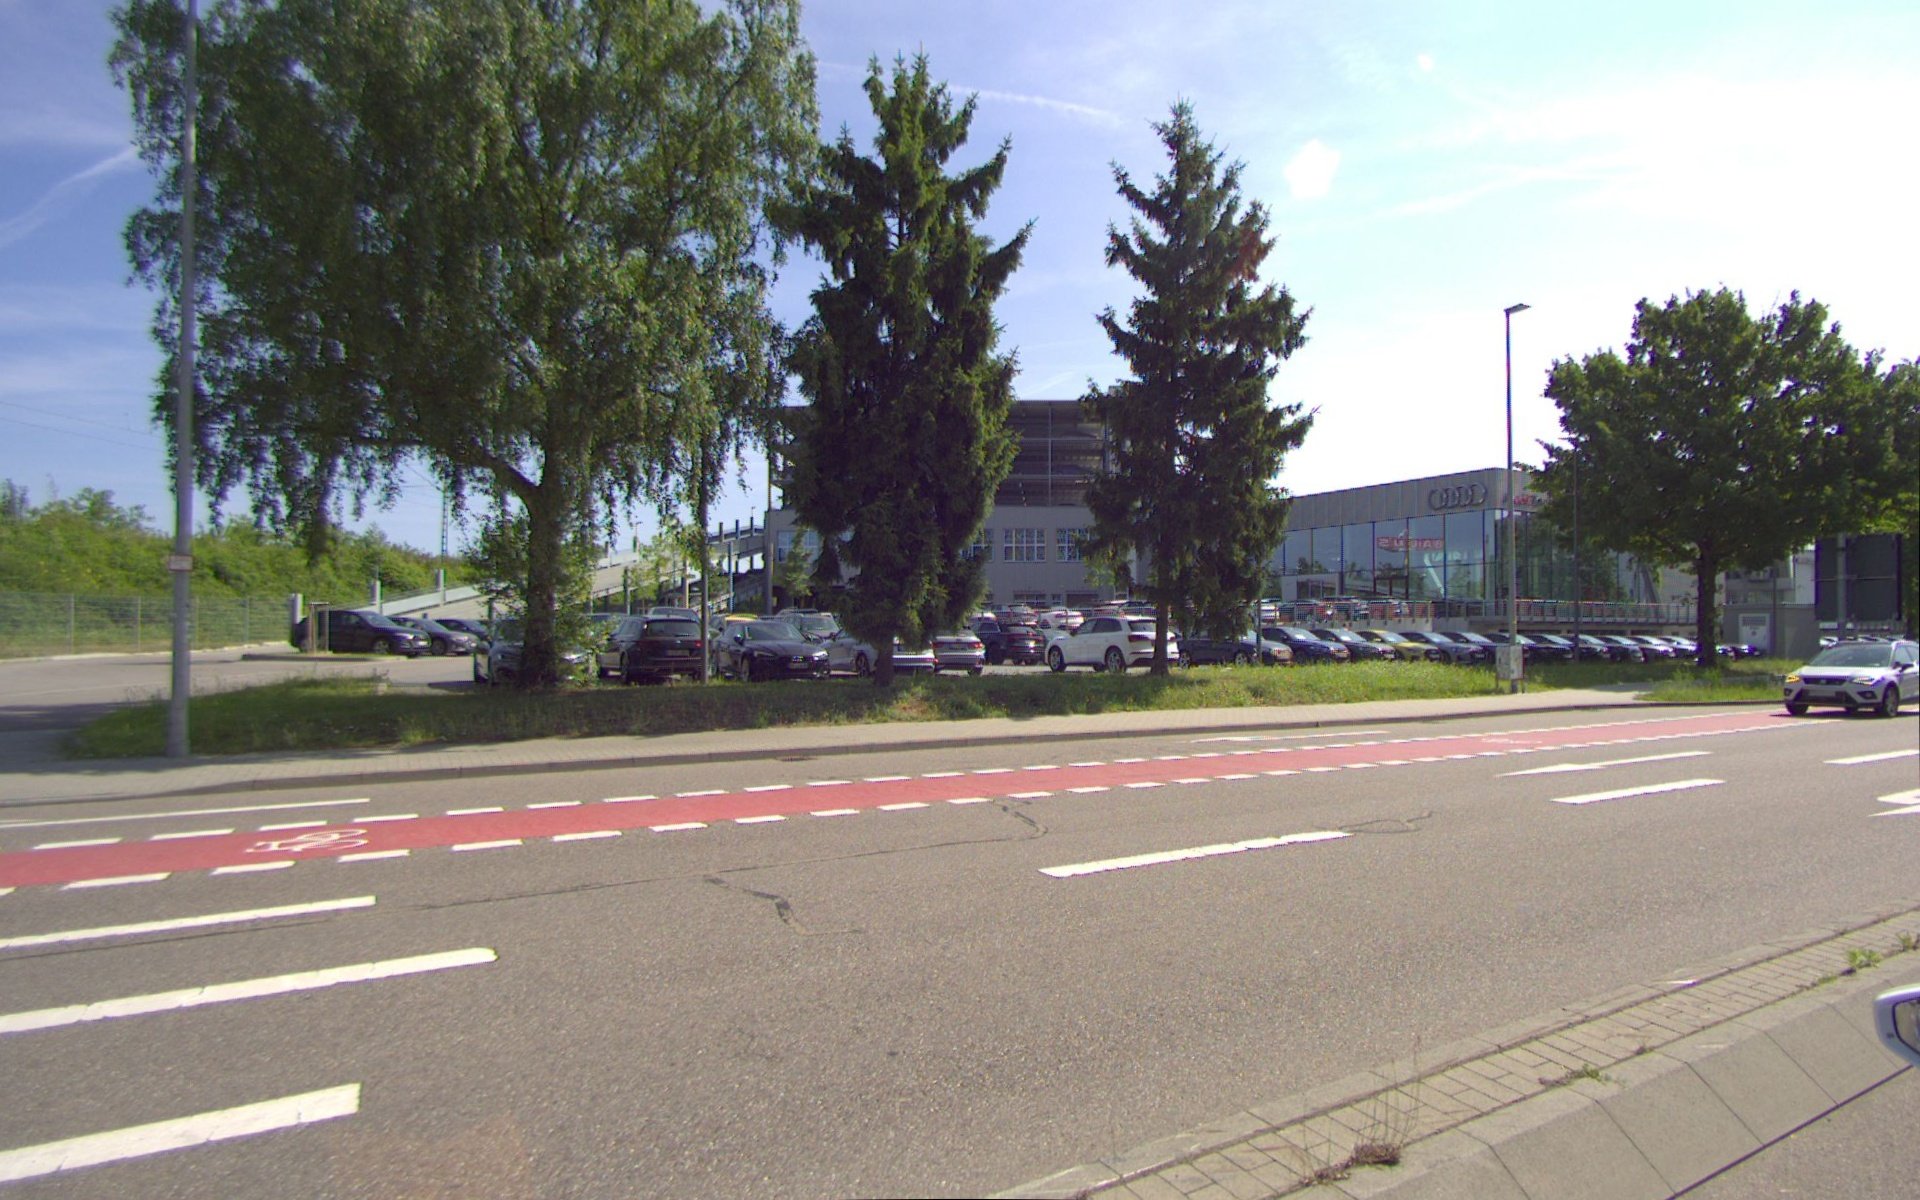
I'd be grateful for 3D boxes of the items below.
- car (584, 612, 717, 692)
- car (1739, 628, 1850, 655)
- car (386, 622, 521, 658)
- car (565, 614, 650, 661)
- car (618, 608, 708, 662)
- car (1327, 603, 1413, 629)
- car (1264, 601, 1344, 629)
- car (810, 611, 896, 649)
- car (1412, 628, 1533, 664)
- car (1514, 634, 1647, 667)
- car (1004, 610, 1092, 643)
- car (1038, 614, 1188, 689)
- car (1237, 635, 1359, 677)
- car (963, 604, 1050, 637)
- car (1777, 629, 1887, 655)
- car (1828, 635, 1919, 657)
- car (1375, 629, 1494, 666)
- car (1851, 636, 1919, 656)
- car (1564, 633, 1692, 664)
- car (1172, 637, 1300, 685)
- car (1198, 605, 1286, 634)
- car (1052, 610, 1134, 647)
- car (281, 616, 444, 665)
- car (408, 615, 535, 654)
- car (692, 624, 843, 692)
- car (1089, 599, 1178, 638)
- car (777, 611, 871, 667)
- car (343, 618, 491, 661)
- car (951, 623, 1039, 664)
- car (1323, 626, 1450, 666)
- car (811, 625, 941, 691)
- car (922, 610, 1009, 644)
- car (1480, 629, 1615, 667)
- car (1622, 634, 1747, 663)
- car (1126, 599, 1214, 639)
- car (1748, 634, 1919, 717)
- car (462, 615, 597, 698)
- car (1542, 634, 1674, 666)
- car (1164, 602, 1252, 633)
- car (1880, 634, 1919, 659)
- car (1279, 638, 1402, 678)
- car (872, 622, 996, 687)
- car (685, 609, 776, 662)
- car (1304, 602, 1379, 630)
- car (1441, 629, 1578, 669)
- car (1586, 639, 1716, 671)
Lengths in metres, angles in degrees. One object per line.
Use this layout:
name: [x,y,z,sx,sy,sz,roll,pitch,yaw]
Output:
car: [-7.004,1.079,22.478,1.976,1.567,4.194,1,0,-30]
car: [43.163,2.161,52.035,1.876,1.171,3.968,1,-5,-32]
car: [-20.976,1.633,41.691,4.666,1.388,1.815,1,0,2]
car: [-12.755,1.318,36.619,1.628,1.567,4.036,1,-1,1]
car: [-9.710,1.088,32.650,1.785,1.585,4.220,1,0,-31]
car: [24.351,0.930,59.841,1.963,1.516,4.498,1,0,-30]
car: [19.431,0.853,56.854,2.027,1.516,3.968,1,0,-30]
car: [-4.574,1.240,42.491,1.979,1.496,4.178,1,0,-33]
car: [19.605,1.799,38.563,1.963,1.302,3.661,1,-4,-31]
car: [26.395,2.105,42.885,1.898,1.307,4.476,1,-2,-31]
car: [4.160,1.268,48.005,1.958,1.504,4.476,1,-2,-31]
car: [4.277,1.386,28.804,1.975,1.900,4.444,1,0,-29]
car: [11.152,1.854,33.319,1.725,1.302,3.576,1,-4,-31]
car: [2.118,0.988,47.185,1.958,1.504,4.476,1,-2,-31]
car: [47.819,2.330,55.188,1.933,1.205,4.154,1,-5,-32]
car: [53.317,2.688,58.189,1.933,1.091,4.154,1,-5,-32]
car: [17.544,1.783,37.280,1.844,1.302,3.576,1,-4,-31]
car: [55.754,2.698,59.552,1.678,1.047,4.088,1,-5,-31]
car: [29.729,2.147,44.844,1.673,1.307,4.476,1,-2,-31]
car: [8.745,1.891,32.092,1.725,1.302,3.771,1,0,-31]
car: [15.255,1.072,54.569,1.958,1.504,4.476,1,-2,-31]
car: [6.419,1.413,48.932,1.646,1.728,4.246,1,-2,-31]
car: [-21.474,1.432,36.206,4.666,1.639,2.001,1,0,2]
car: [-21.283,1.489,43.848,4.666,1.567,1.815,1,0,2]
car: [-4.589,1.261,23.312,1.976,1.285,4.828,1,0,-30]
car: [8.632,0.968,50.242,1.958,1.839,4.476,1,-2,-31]
car: [-4.827,1.320,35.269,1.976,1.780,3.969,1,0,-29]
car: [-21.045,1.506,39.049,4.666,1.545,2.001,1,0,2]
car: [1.312,1.635,38.717,1.626,1.420,3.710,1,0,-31]
car: [15.299,1.680,36.217,1.819,1.358,3.868,1,-4,-31]
car: [-2.116,1.348,24.464,1.795,1.389,3.663,1,0,-30]
car: [0.198,1.186,45.313,1.870,1.437,4.475,1,0,-31]
car: [24.208,1.942,41.531,1.898,1.495,4.476,1,-2,-31]
car: [34.572,2.306,48.048,1.898,1.307,4.476,1,-2,-31]
car: [10.772,0.997,51.833,1.958,1.988,4.476,1,-2,-31]
car: [19.274,1.579,21.681,4.050,1.639,1.987,1,-3,-26]
car: [-8.779,1.038,20.238,1.976,1.408,4.665,1,0,-30]
car: [28.165,2.123,43.782,1.898,1.307,4.476,1,-2,-31]
car: [13.051,0.977,53.136,1.958,1.571,4.476,1,-2,-31]
car: [59.247,2.806,61.387,1.976,1.460,3.972,1,-5,-29]
car: [13.063,2.000,34.648,1.644,1.302,3.723,1,-4,-31]
car: [-0.772,1.394,26.790,1.823,1.506,3.973,1,0,-26]
car: [-7.831,1.148,34.026,1.976,1.643,3.969,1,0,-29]
car: [22.082,0.900,58.267,1.648,1.516,3.968,1,0,-30]
car: [21.919,1.906,40.233,1.958,1.495,4.476,1,-2,-31]
car: [31.509,2.477,45.937,1.982,1.307,4.476,1,-2,-31]
